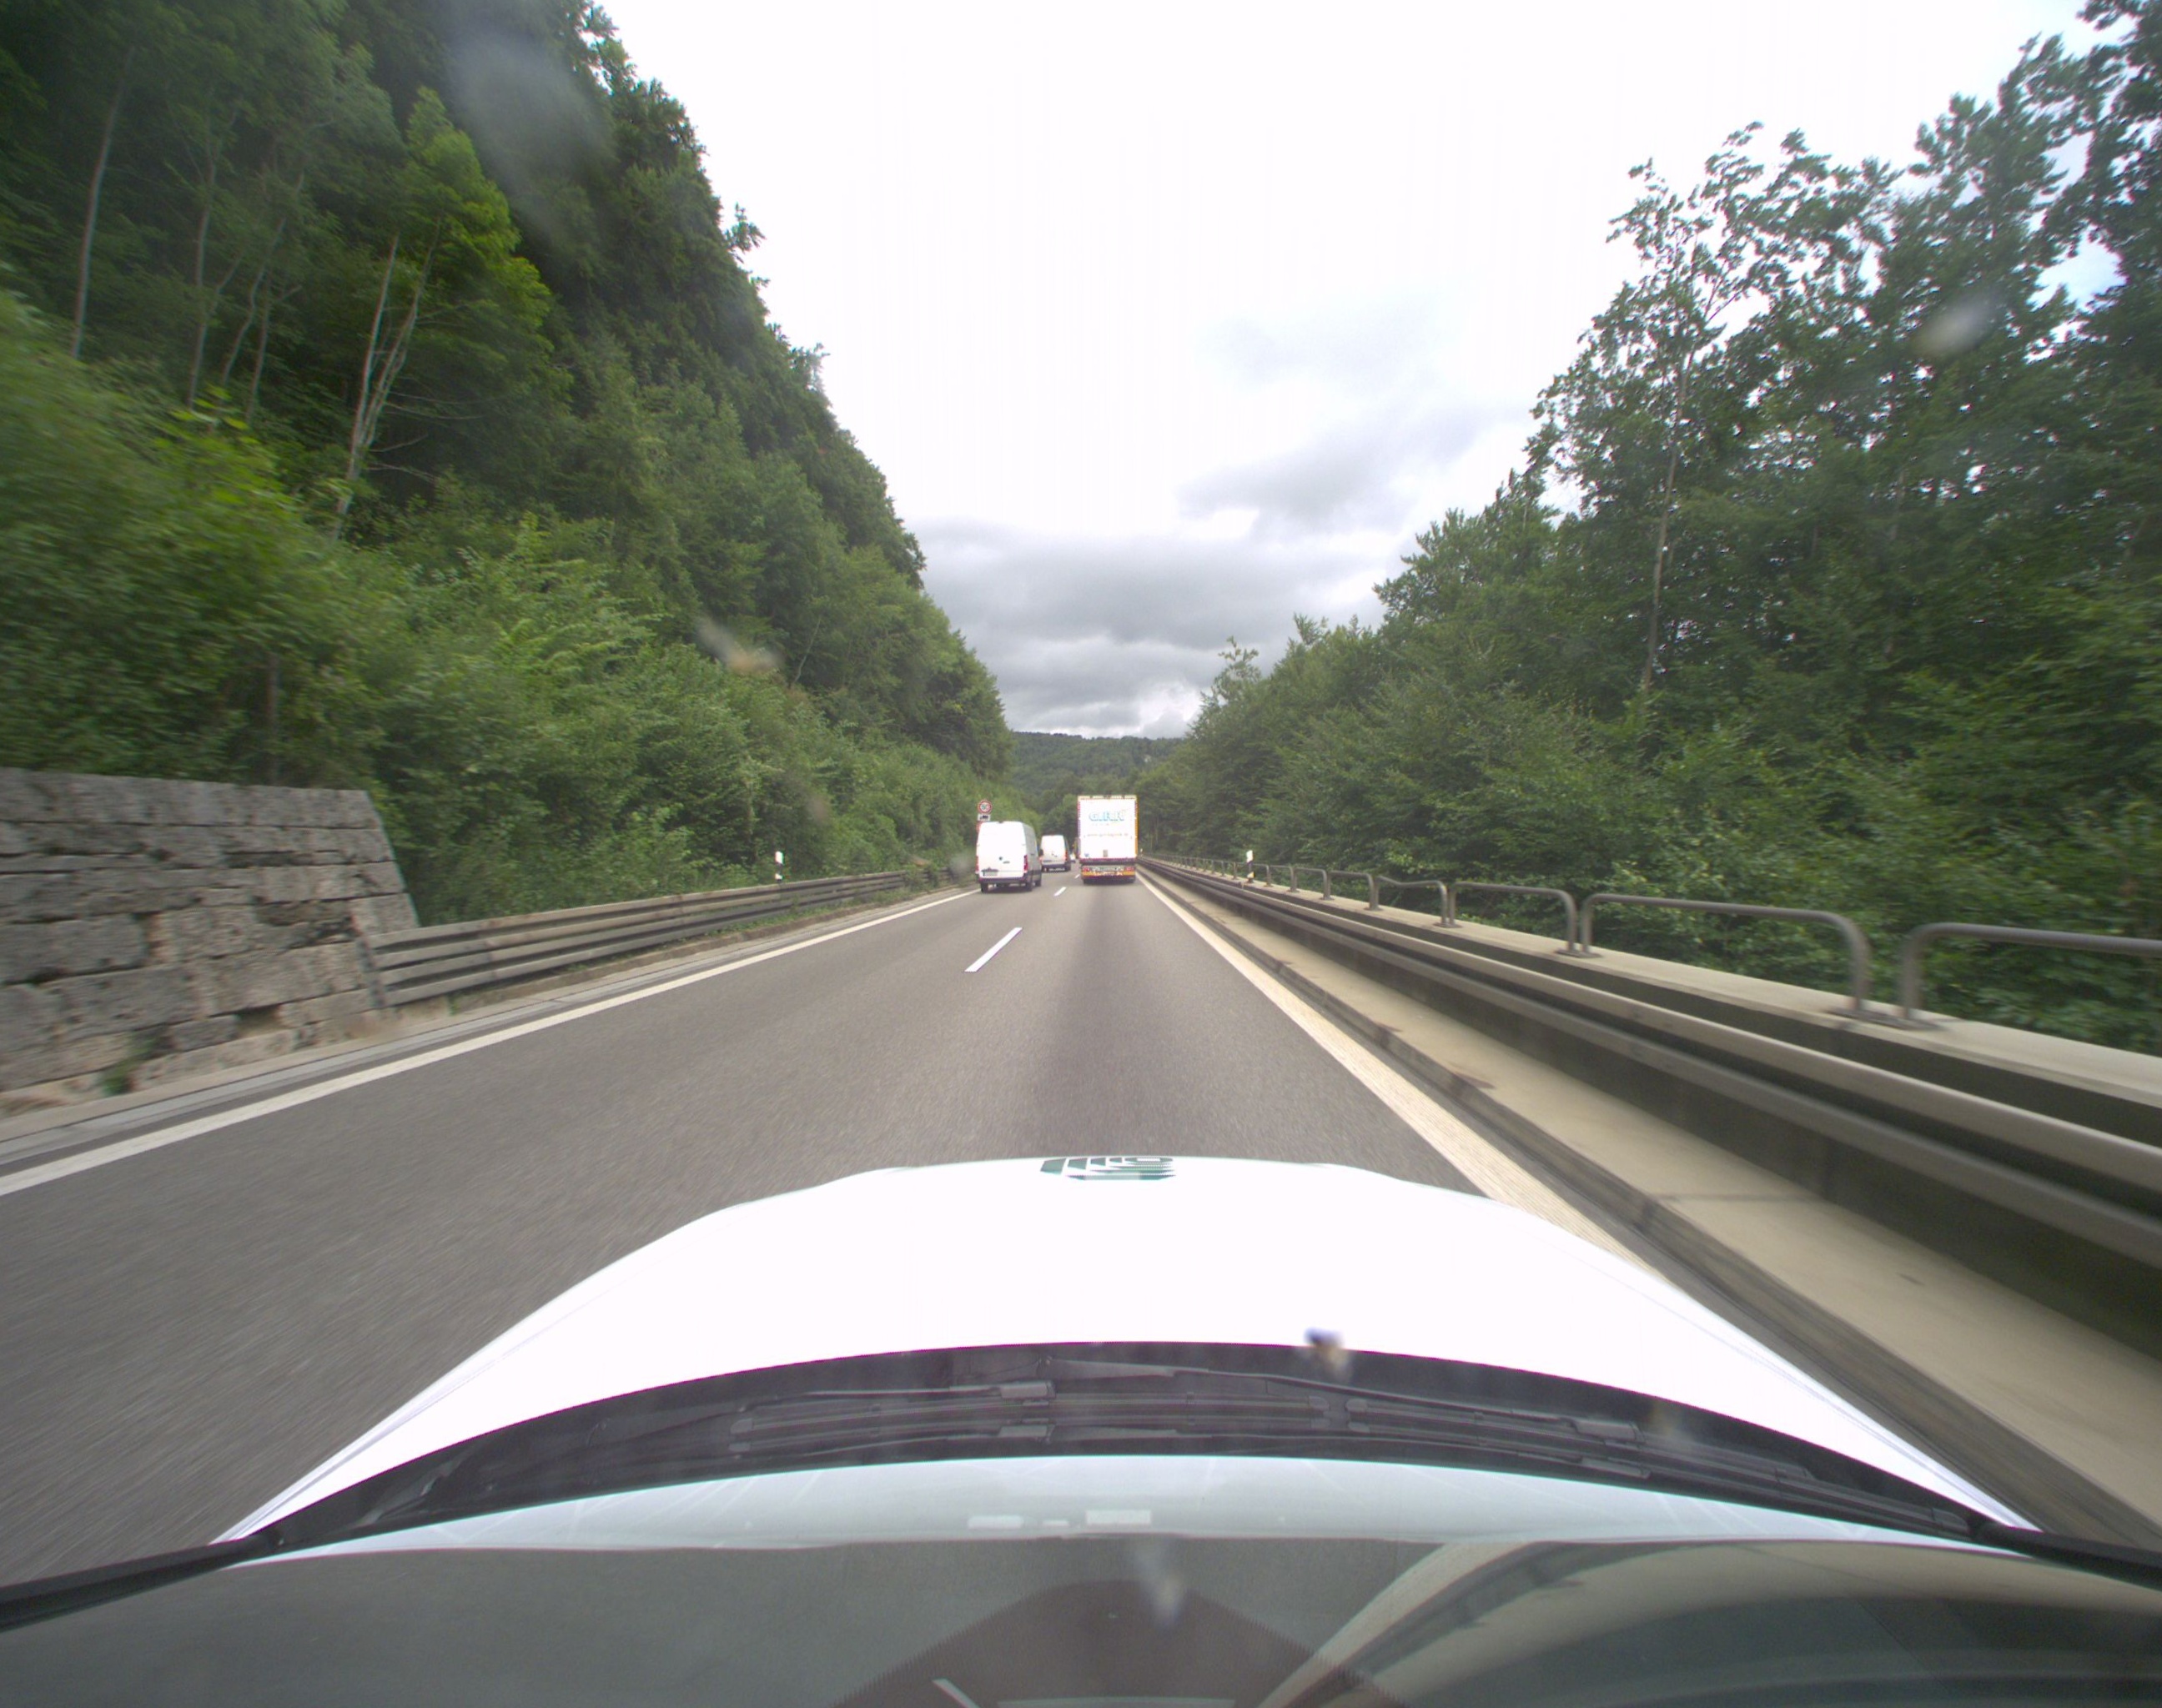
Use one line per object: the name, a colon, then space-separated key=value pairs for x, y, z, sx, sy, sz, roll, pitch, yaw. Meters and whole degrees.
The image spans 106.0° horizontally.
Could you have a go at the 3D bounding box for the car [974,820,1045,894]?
car: x=-2.761 y=0.080 z=33.185 sx=1.981 sy=2.672 sz=6.939 roll=-1 pitch=0 yaw=2

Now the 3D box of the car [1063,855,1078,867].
car: x=-1.301 y=0.815 z=102.051 sx=1.726 sy=1.421 sz=4.001 roll=0 pitch=0 yaw=1

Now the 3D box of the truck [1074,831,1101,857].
truck: x=0.984 y=-1.509 z=134.022 sx=3.053 sy=3.986 sz=13.670 roll=0 pitch=0 yaw=-6

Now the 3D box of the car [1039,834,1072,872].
car: x=-1.852 y=-0.098 z=60.919 sx=1.932 sy=2.672 sz=5.995 roll=-1 pitch=0 yaw=3

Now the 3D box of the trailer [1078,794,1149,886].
trailer: x=1.587 y=-0.780 z=41.253 sx=3.046 sy=3.985 sz=12.142 roll=0 pitch=2 yaw=2
